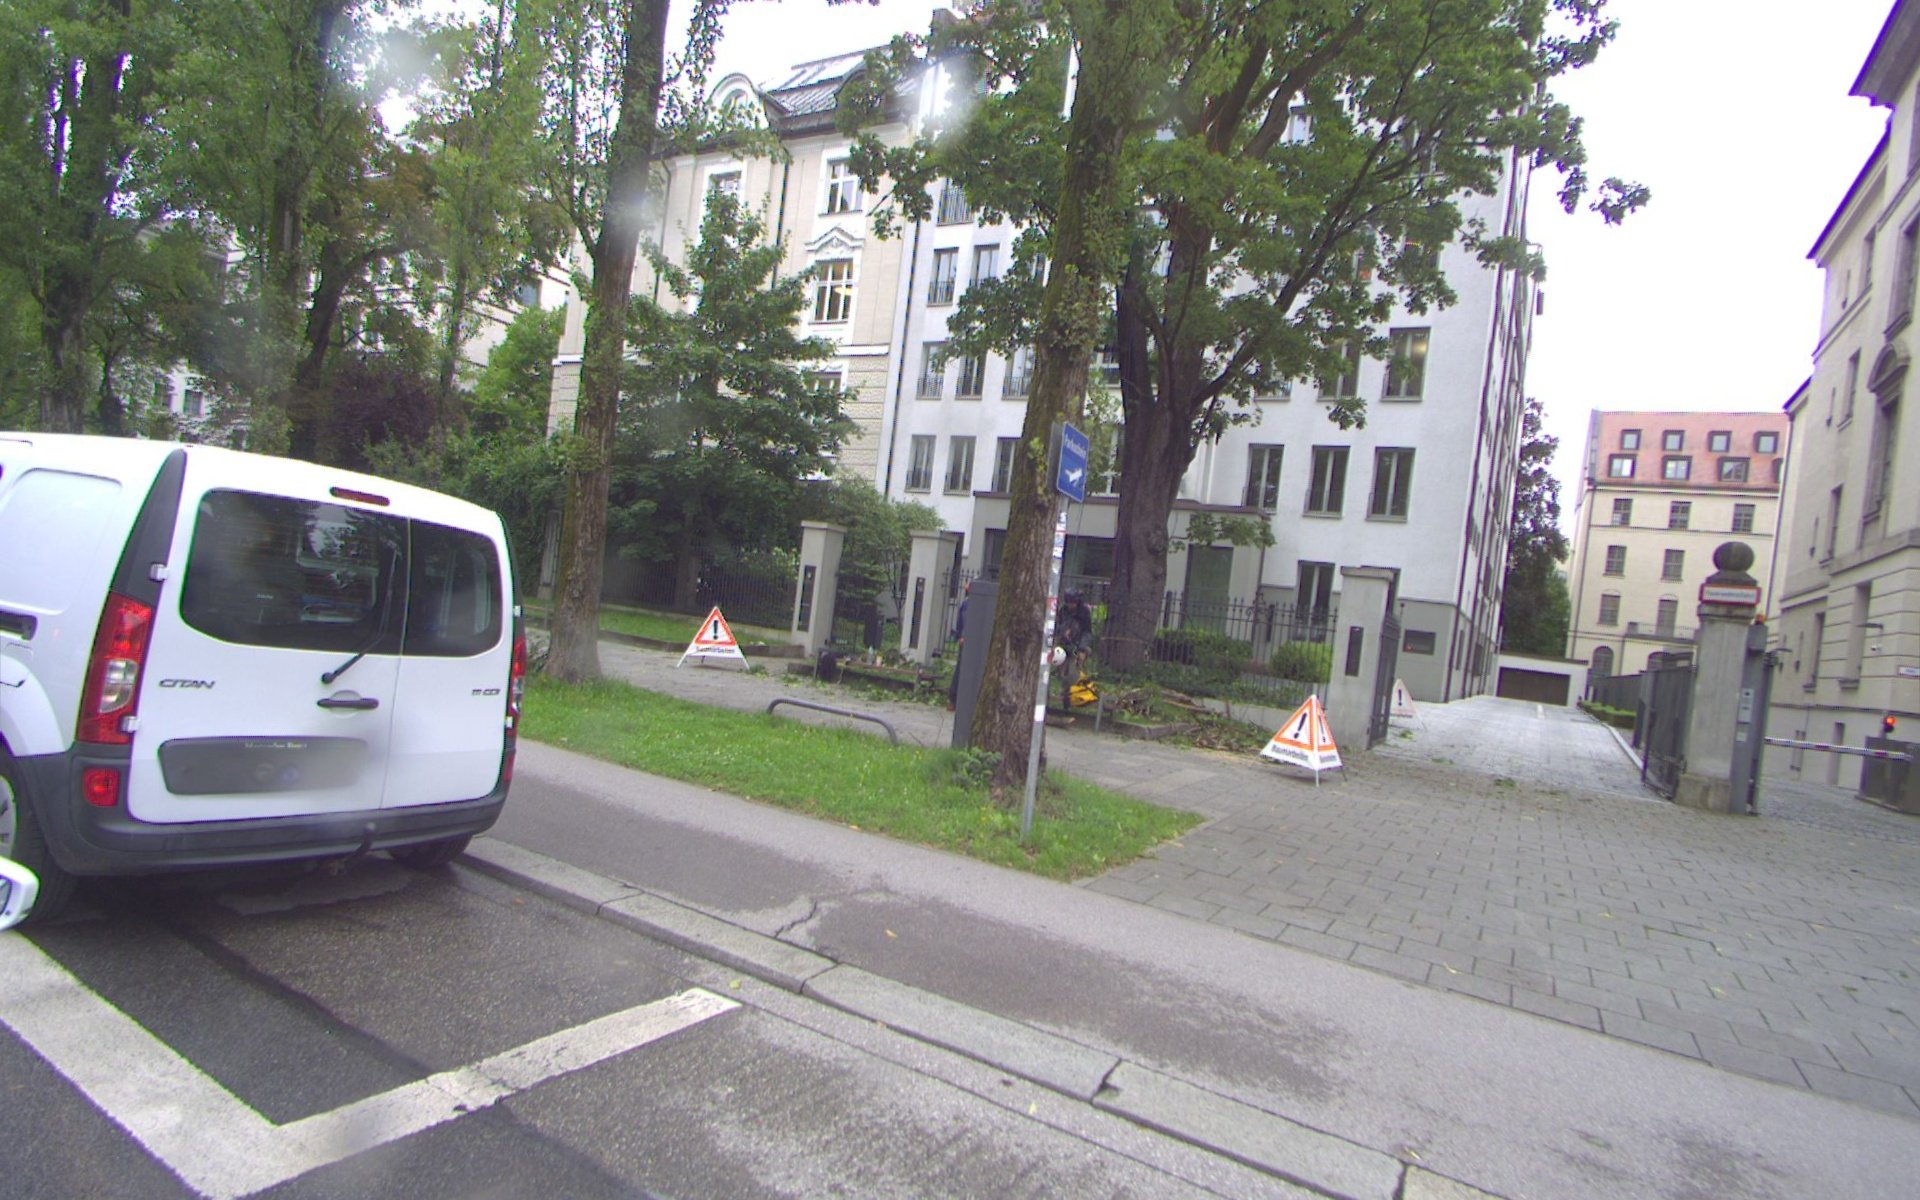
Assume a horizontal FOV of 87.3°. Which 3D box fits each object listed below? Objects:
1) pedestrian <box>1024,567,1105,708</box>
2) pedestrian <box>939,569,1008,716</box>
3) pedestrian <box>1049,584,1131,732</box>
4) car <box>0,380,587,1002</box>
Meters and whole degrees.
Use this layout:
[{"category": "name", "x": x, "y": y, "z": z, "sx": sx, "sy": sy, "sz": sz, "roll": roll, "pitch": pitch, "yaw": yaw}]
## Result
[{"category": "pedestrian", "x": 1.497, "y": 0.516, "z": 14.252, "sx": 0.814, "sy": 1.823, "sz": 0.904, "roll": 9, "pitch": 2, "yaw": 10}, {"category": "pedestrian", "x": 0.188, "y": 0.569, "z": 13.554, "sx": 0.626, "sy": 1.886, "sz": 0.488, "roll": 7, "pitch": 1, "yaw": 13}, {"category": "pedestrian", "x": 1.735, "y": 0.750, "z": 13.314, "sx": 0.805, "sy": 1.804, "sz": 0.802, "roll": 7, "pitch": 1, "yaw": 13}, {"category": "car", "x": -4.047, "y": 0.123, "z": 4.887, "sx": 4.097, "sy": 1.904, "sz": 1.854, "roll": 7, "pitch": 0, "yaw": 30}]
